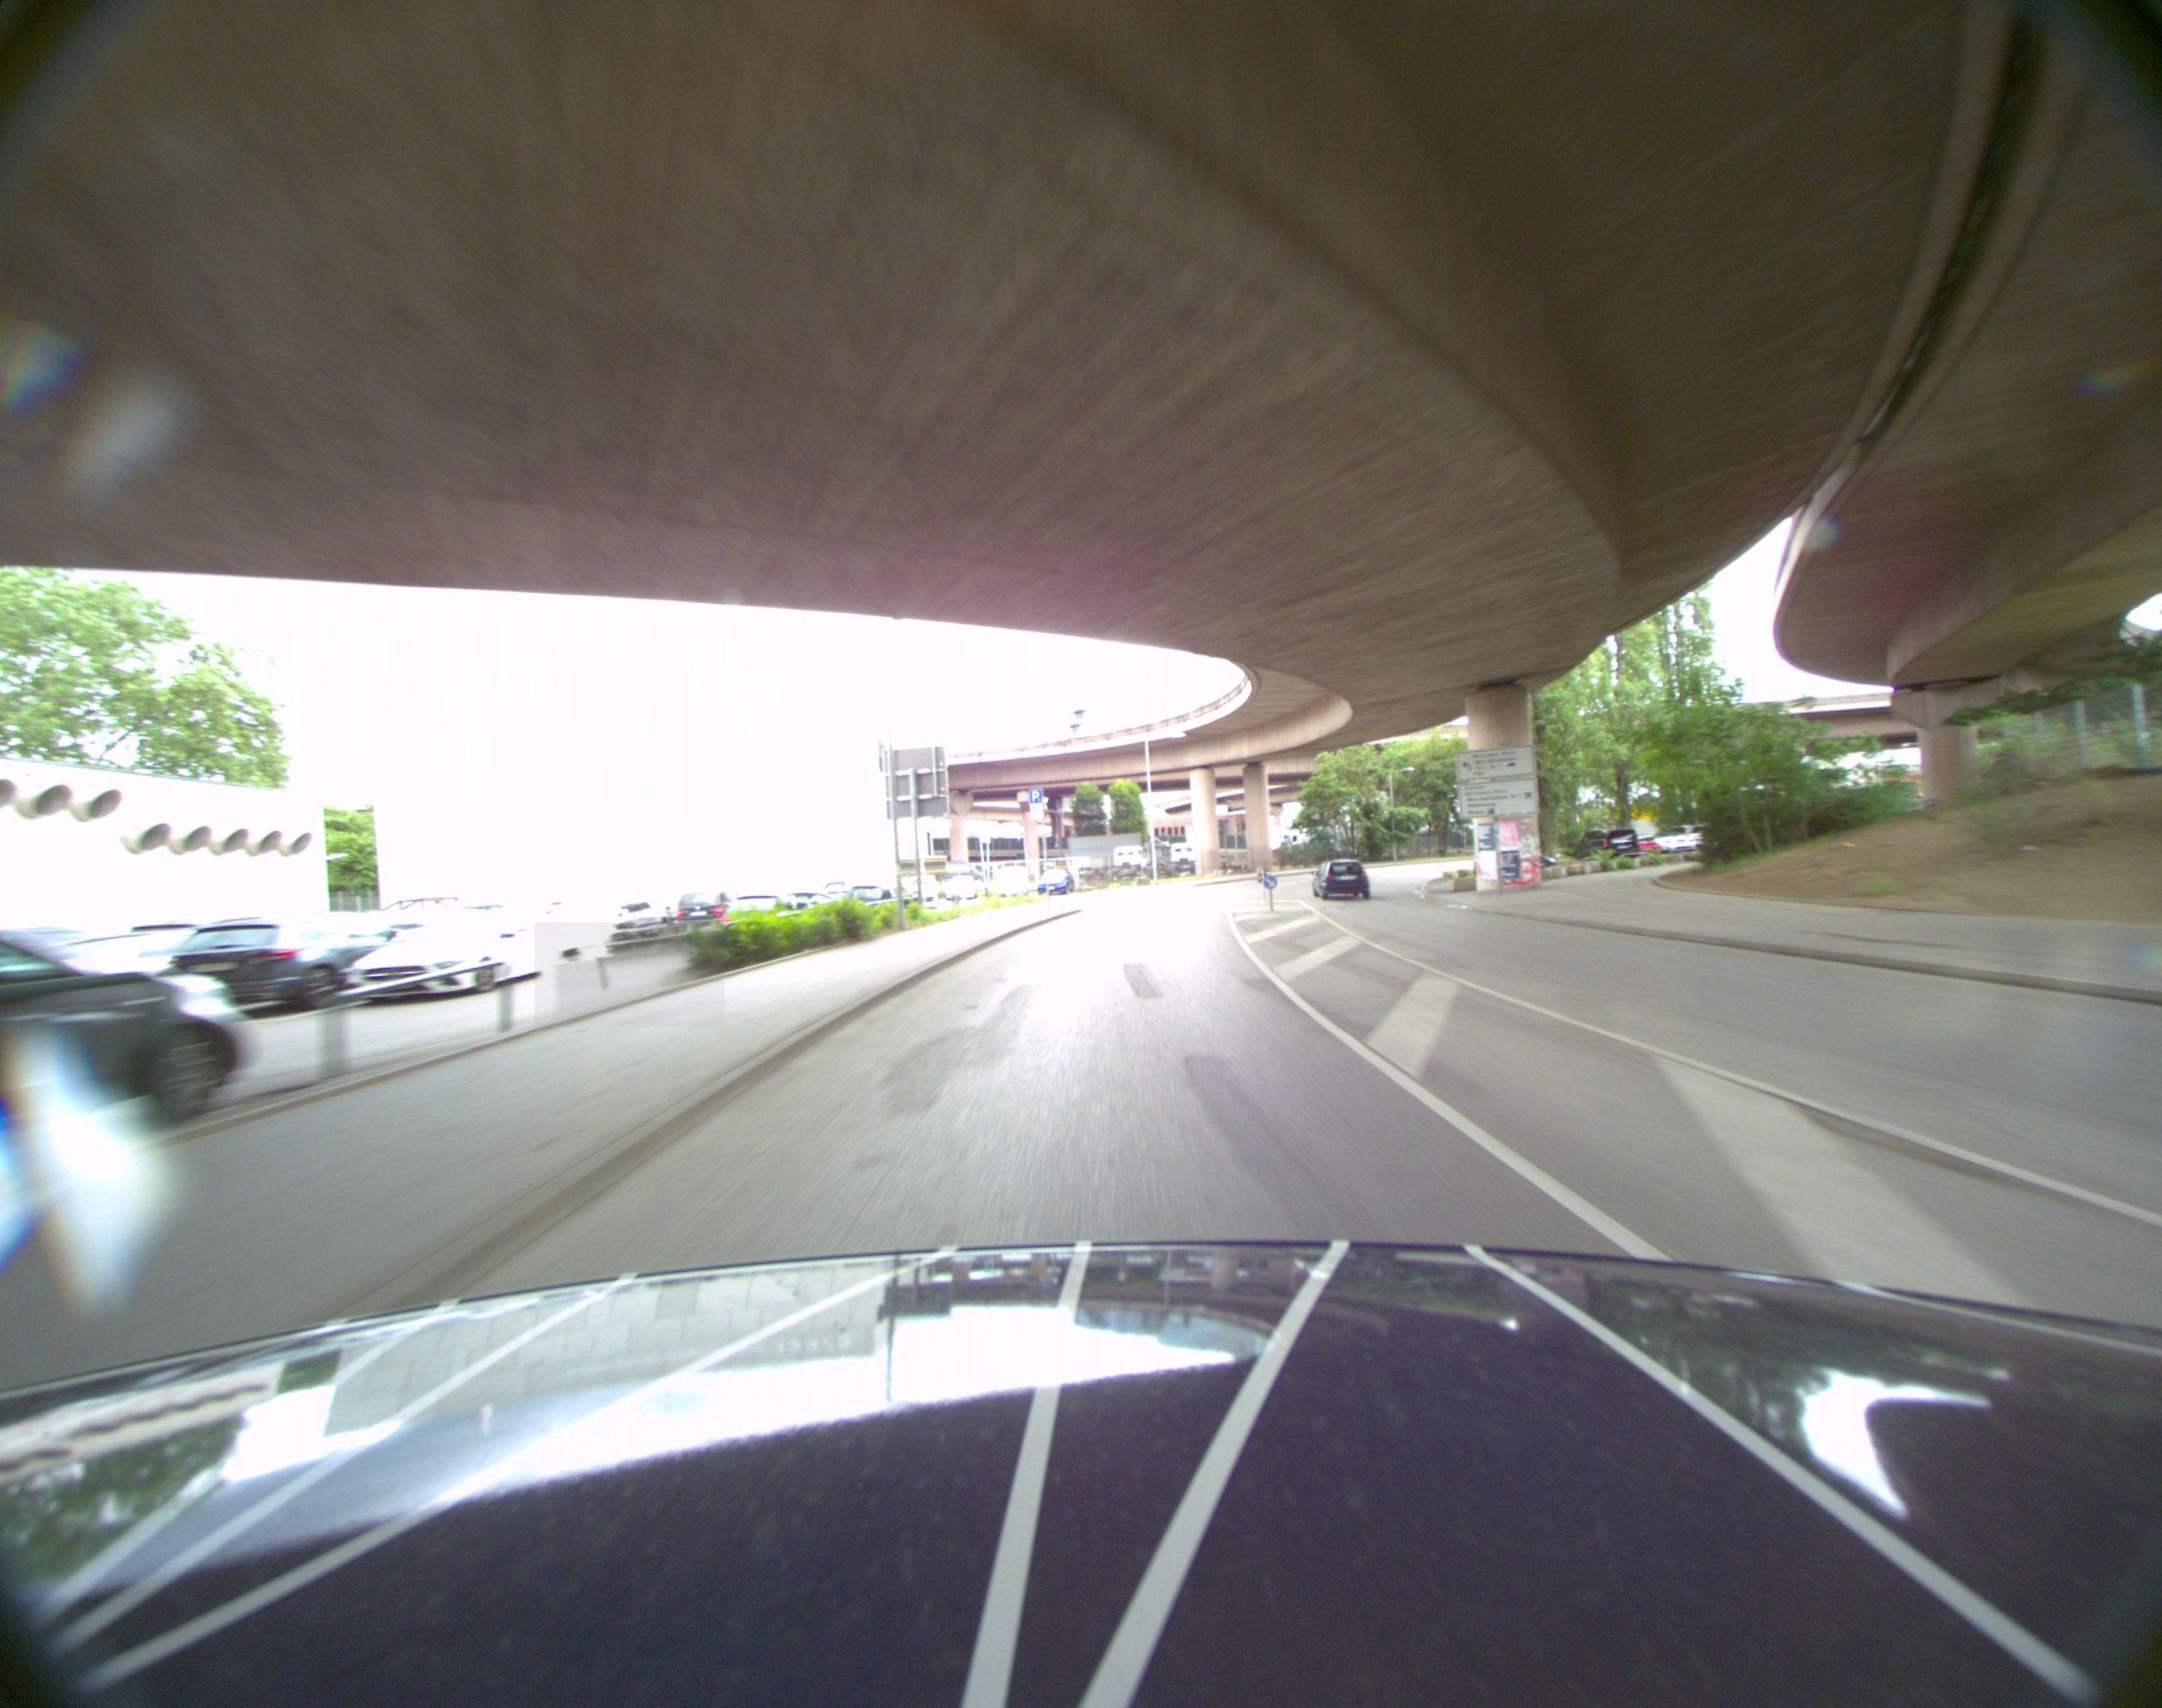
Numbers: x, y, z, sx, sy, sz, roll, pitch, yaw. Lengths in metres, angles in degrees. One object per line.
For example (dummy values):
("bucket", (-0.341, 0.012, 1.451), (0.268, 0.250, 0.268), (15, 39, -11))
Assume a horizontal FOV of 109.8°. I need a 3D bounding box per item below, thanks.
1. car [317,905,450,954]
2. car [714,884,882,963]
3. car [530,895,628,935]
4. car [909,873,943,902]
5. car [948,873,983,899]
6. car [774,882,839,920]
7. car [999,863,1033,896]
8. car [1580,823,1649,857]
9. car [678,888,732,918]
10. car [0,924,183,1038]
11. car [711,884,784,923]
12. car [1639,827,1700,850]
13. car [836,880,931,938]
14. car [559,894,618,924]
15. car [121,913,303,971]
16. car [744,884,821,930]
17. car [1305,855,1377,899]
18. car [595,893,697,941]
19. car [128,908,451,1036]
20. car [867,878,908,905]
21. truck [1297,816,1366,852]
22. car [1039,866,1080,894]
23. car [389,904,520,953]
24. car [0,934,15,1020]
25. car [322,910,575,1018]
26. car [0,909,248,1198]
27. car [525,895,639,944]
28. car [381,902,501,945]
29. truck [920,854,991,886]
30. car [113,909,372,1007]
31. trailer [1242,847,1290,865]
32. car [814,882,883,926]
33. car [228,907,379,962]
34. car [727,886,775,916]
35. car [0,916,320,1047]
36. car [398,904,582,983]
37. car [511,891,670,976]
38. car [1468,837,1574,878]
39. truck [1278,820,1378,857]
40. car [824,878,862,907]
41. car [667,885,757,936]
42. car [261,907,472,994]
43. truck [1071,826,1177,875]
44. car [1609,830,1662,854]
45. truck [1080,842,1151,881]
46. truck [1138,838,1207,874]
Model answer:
("car", (-26.168, 2.786, 28.706), (1.769, 1.384, 3.973), (-3, 0, -10))
("car", (-6.773, 1.629, 18.743), (1.732, 1.470, 4.254), (-3, 0, 14))
("car", (-22.440, 2.680, 34.173), (1.839, 1.417, 4.439), (-3, 0, -7))
("car", (-9.718, 2.047, 47.814), (1.775, 1.578, 4.358), (-3, 0, -8))
("car", (-7.269, 1.984, 48.220), (1.775, 1.448, 4.553), (-3, 0, -5))
("car", (-12.846, 2.161, 35.838), (1.839, 1.504, 4.498), (-3, 0, -7))
("car", (-4.230, 1.656, 50.086), (1.893, 1.945, 4.680), (-3, 0, -1))
("car", (32.821, -0.862, 46.913), (1.853, 1.906, 4.978), (-3, 1, 16))
("car", (-22.016, 2.838, 44.618), (1.776, 1.448, 4.356), (-3, 0, -13))
("car", (-18.162, 2.183, 12.640), (1.838, 1.583, 4.188), (-3, 0, -10))
("car", (-15.529, 2.254, 35.614), (1.839, 1.504, 4.498), (-3, 0, -7))
("car", (38.973, -1.031, 50.420), (1.693, 1.356, 4.521), (-3, 1, 17))
("car", (-5.845, 1.604, 22.778), (1.542, 1.470, 2.763), (-3, 0, 14))
("car", (-28.468, 3.159, 44.062), (1.498, 1.451, 4.061), (-3, 0, -13))
("car", (-30.594, 3.038, 26.998), (1.769, 1.524, 4.485), (-3, 0, -10))
("car", (-11.909, 2.066, 30.623), (1.858, 1.466, 4.683), (-3, 0, -10))
("car", (9.533, 0.788, 28.178), (1.680, 1.422, 4.002), (-3, 0, 7))
("car", (-16.692, 2.354, 29.443), (1.858, 1.435, 4.617), (-3, 0, -10))
("car", (-13.755, 1.936, 13.663), (1.838, 1.583, 4.188), (-3, 0, -10))
("car", (-11.729, 2.265, 46.374), (1.775, 1.375, 4.359), (-3, 0, -7))
("truck", (26.310, -2.055, 79.879), (6.410, 3.389, 2.269), (-3, 1, -4))
("car", (-1.343, 1.669, 49.875), (1.773, 1.625, 4.688), (-3, 0, 9))
("car", (-23.657, 2.775, 28.932), (1.785, 1.384, 4.433), (-3, 0, -10))
("car", (-20.727, 2.325, 12.126), (1.838, 1.583, 4.188), (-3, 0, -10))
("car", (-11.756, 1.949, 14.570), (1.838, 1.413, 4.188), (-3, 0, -10))
("car", (-6.849, 1.212, 3.744), (1.610, 1.524, 3.410), (-5, 0, 0))
("car", (-18.958, 2.432, 29.143), (1.858, 1.435, 4.617), (-3, 0, -10))
("car", (-27.803, 2.971, 33.237), (1.839, 1.417, 4.439), (-3, 0, -7))
("truck", (-13.175, 1.689, 80.226), (6.927, 2.915, 3.050), (-3, -1, -4))
("car", (-19.647, 2.338, 18.167), (1.757, 1.681, 4.428), (-3, 0, -10))
("trailer", (16.402, 0.183, 67.303), (4.389, 1.324, 1.602), (-4, 1, -34))
("car", (-9.411, 1.962, 31.121), (1.858, 1.466, 4.684), (-3, 0, -7))
("car", (-28.153, 2.852, 27.715), (1.769, 1.524, 3.973), (-3, 0, -10))
("car", (-19.437, 2.730, 44.913), (1.776, 1.448, 4.356), (-3, 0, -13))
("car", (-16.079, 2.065, 13.249), (1.838, 1.583, 4.188), (-3, 0, -10))
("car", (-14.794, 2.162, 19.378), (1.757, 1.440, 4.455), (-3, 0, -10))
("car", (-12.286, 1.907, 19.420), (1.746, 1.665, 4.466), (-3, 0, -10))
("car", (18.748, 0.131, 32.323), (4.781, 1.421, 1.825), (-3, -2, -33))
("truck", (26.972, -1.738, 83.082), (10.214, 3.478, 2.269), (-3, 1, -7))
("car", (-14.571, 2.334, 46.663), (1.623, 1.535, 3.096), (-3, 0, -7))
("car", (-14.414, 2.146, 29.959), (1.858, 1.618, 4.617), (-3, 0, -10))
("car", (-17.203, 2.237, 18.616), (1.757, 1.547, 4.084), (-3, 0, -10))
("truck", (4.318, -0.337, 78.120), (10.134, 4.340, 3.912), (-3, -1, -8))
("car", (35.814, -0.805, 49.166), (1.562, 1.372, 3.709), (-3, 1, 16))
("truck", (2.959, 0.575, 63.369), (2.452, 2.869, 6.131), (-3, 0, 41))
("truck", (7.725, 0.105, 63.369), (2.418, 2.727, 7.249), (-3, 0, 35))
